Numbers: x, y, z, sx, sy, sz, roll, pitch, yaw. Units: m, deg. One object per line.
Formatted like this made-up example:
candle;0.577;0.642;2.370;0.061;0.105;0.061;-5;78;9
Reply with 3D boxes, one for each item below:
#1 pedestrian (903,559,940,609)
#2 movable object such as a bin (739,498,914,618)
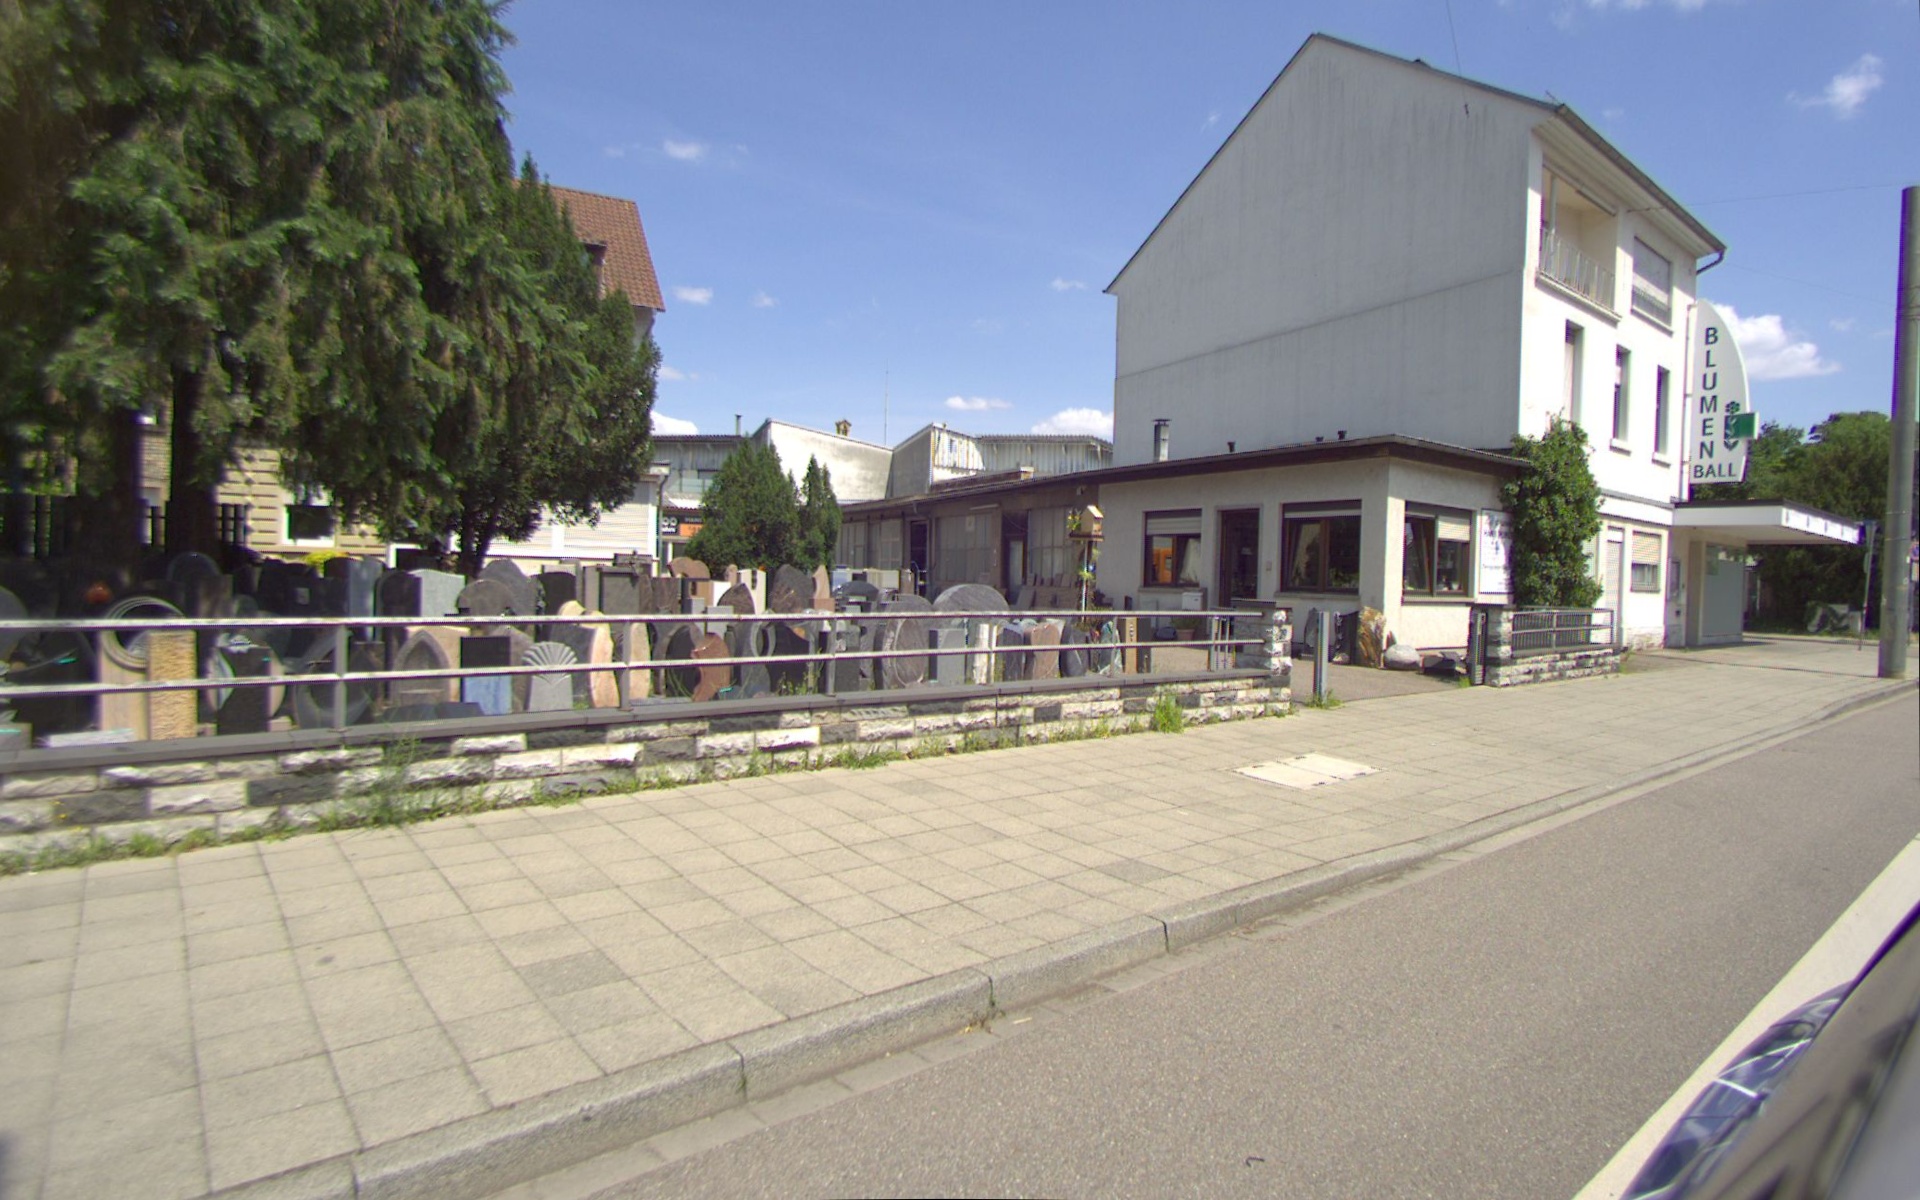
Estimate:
pedestrian;-1.035;-0.443;27.149;0.704;1.306;0.646;0;4;-39
movable object such as a bin;-3.165;-1.006;24.200;3.739;2.650;1.745;-1;4;-38
